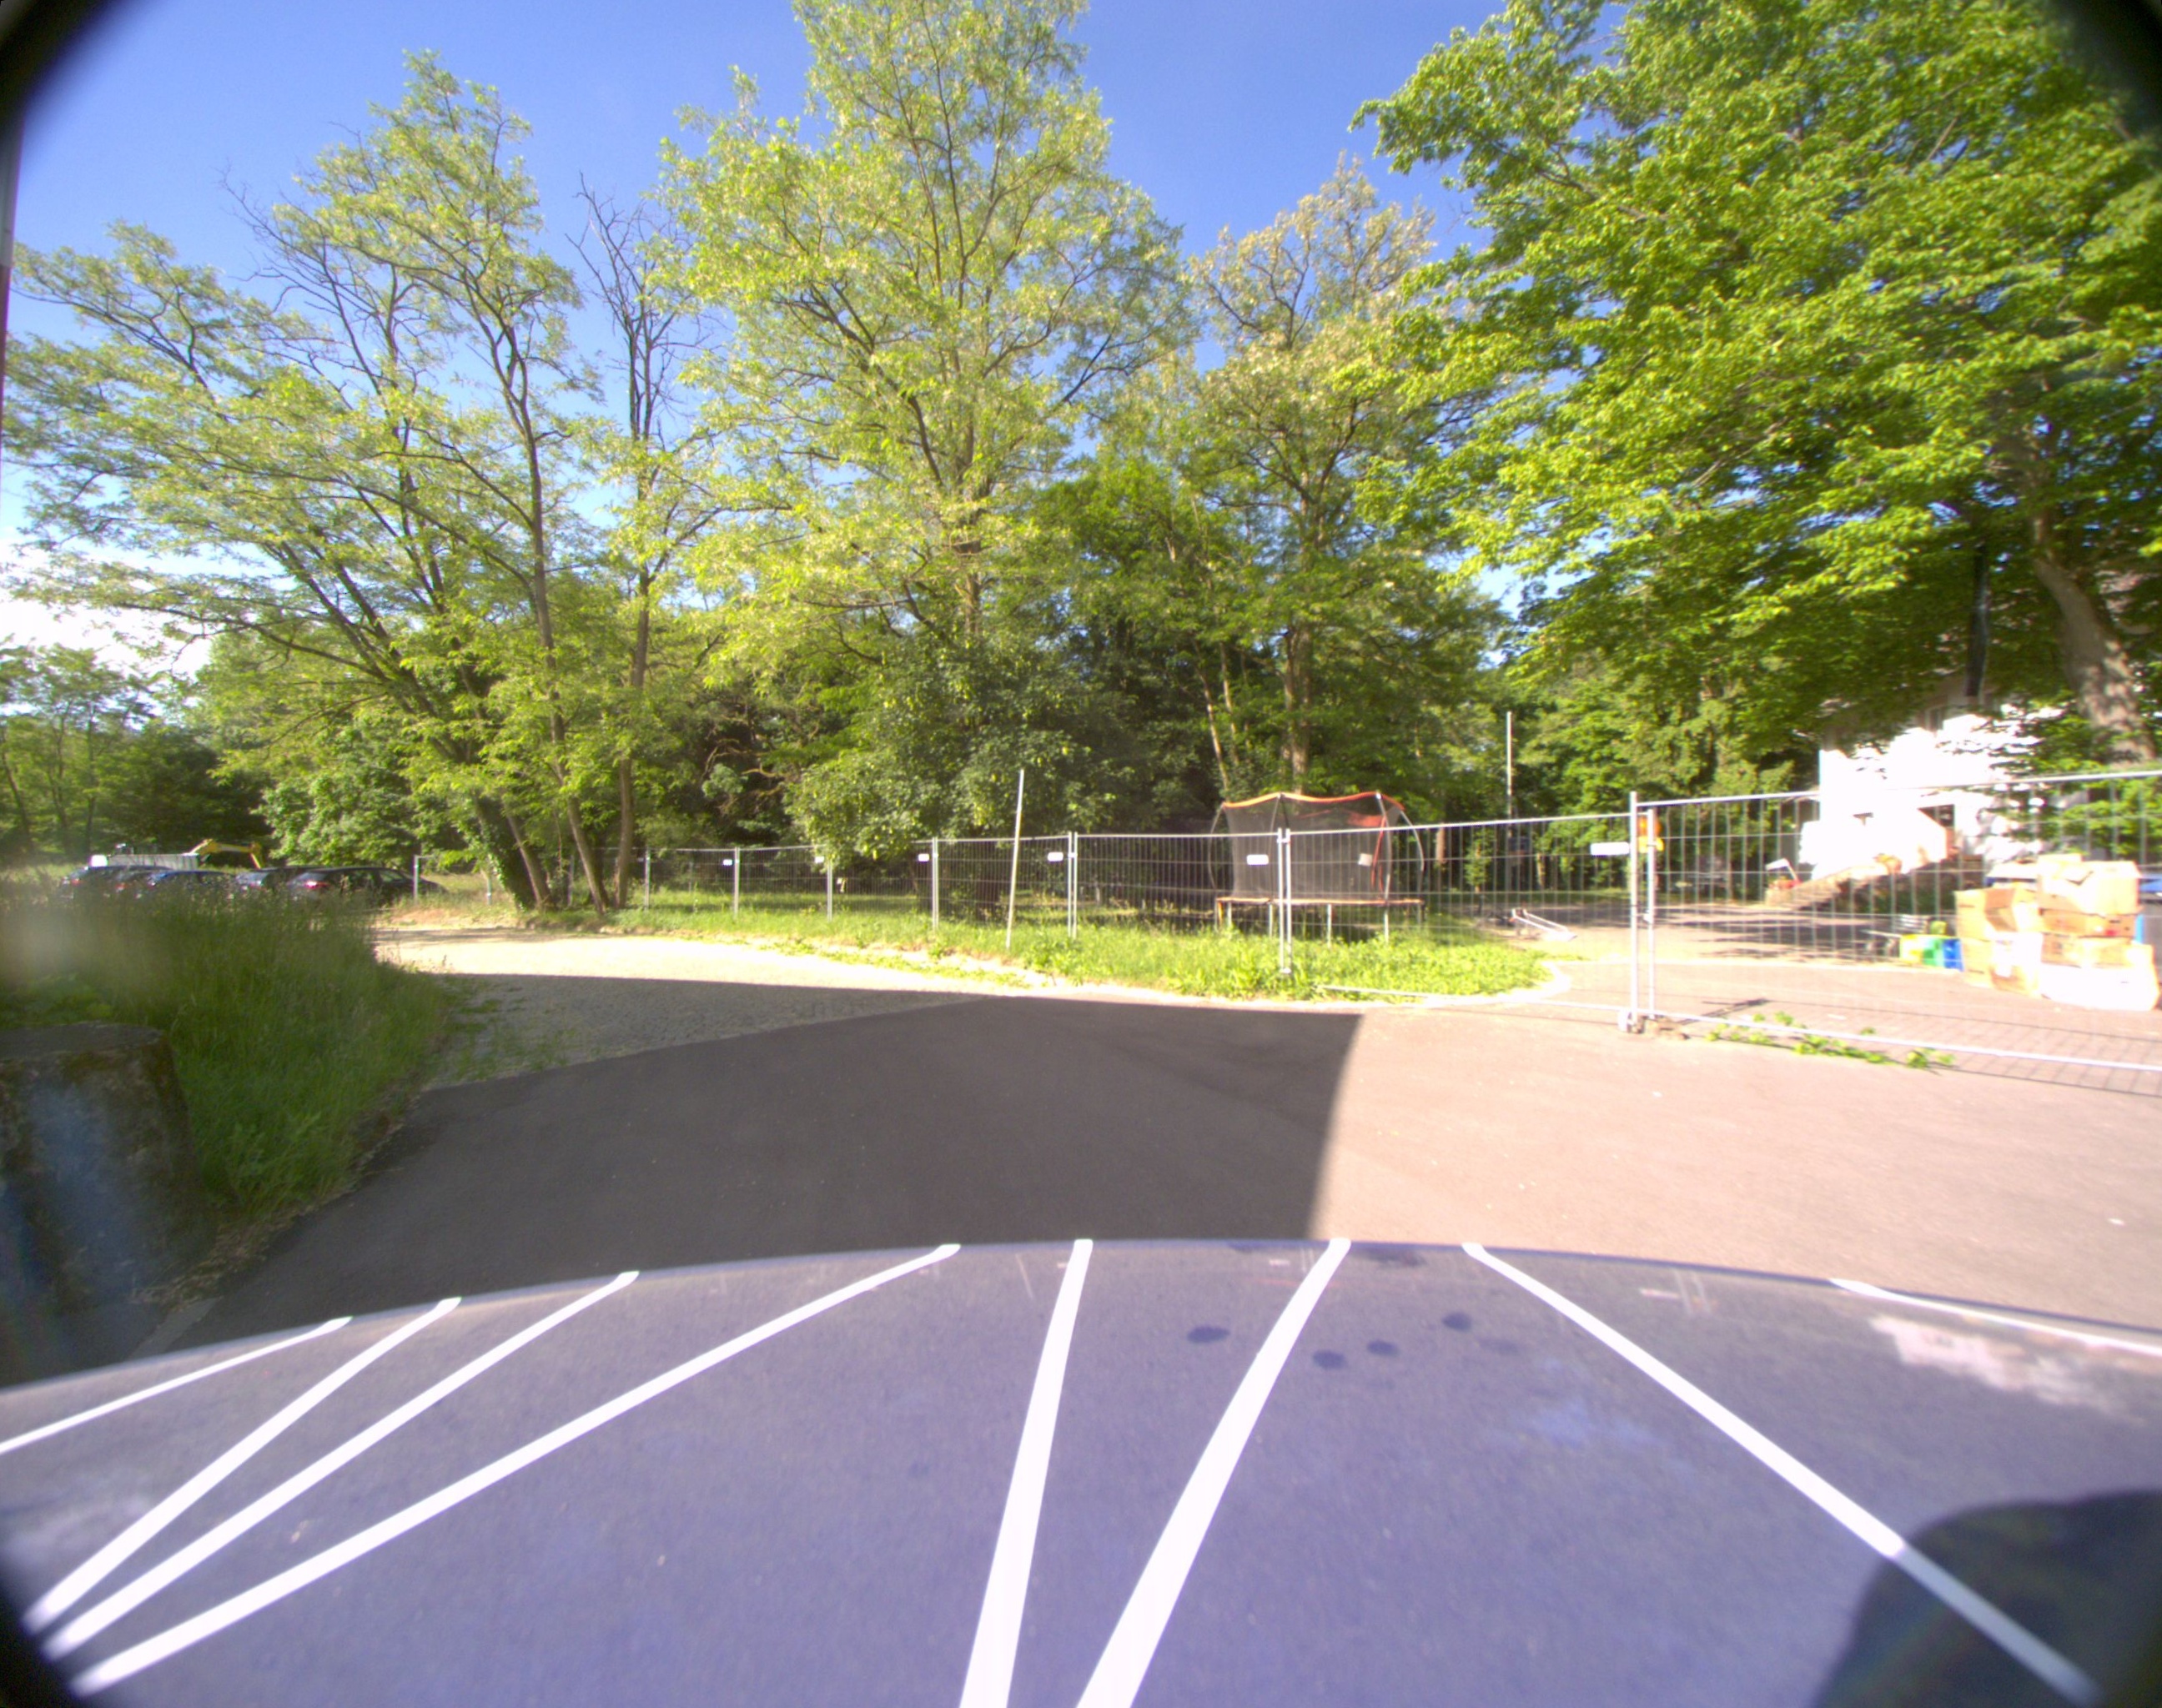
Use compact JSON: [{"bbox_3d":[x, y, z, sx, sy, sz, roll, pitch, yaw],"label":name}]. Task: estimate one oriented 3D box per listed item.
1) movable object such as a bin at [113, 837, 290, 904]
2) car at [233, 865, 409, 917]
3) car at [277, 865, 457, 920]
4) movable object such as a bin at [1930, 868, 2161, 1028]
[{"bbox_3d":[-41.718,0.765,36.218,1.995,2.948,5.175,0,-1,26],"label":"movable object such as a bin"},{"bbox_3d":[-28.022,1.282,28.218,1.813,1.647,4.196,0,1,21],"label":"car"},{"bbox_3d":[-25.159,1.292,27.008,1.789,1.643,4.305,0,1,17],"label":"car"},{"bbox_3d":[11.285,0.956,8.613,1.172,1.581,2.299,0,-1,16],"label":"movable object such as a bin"}]
